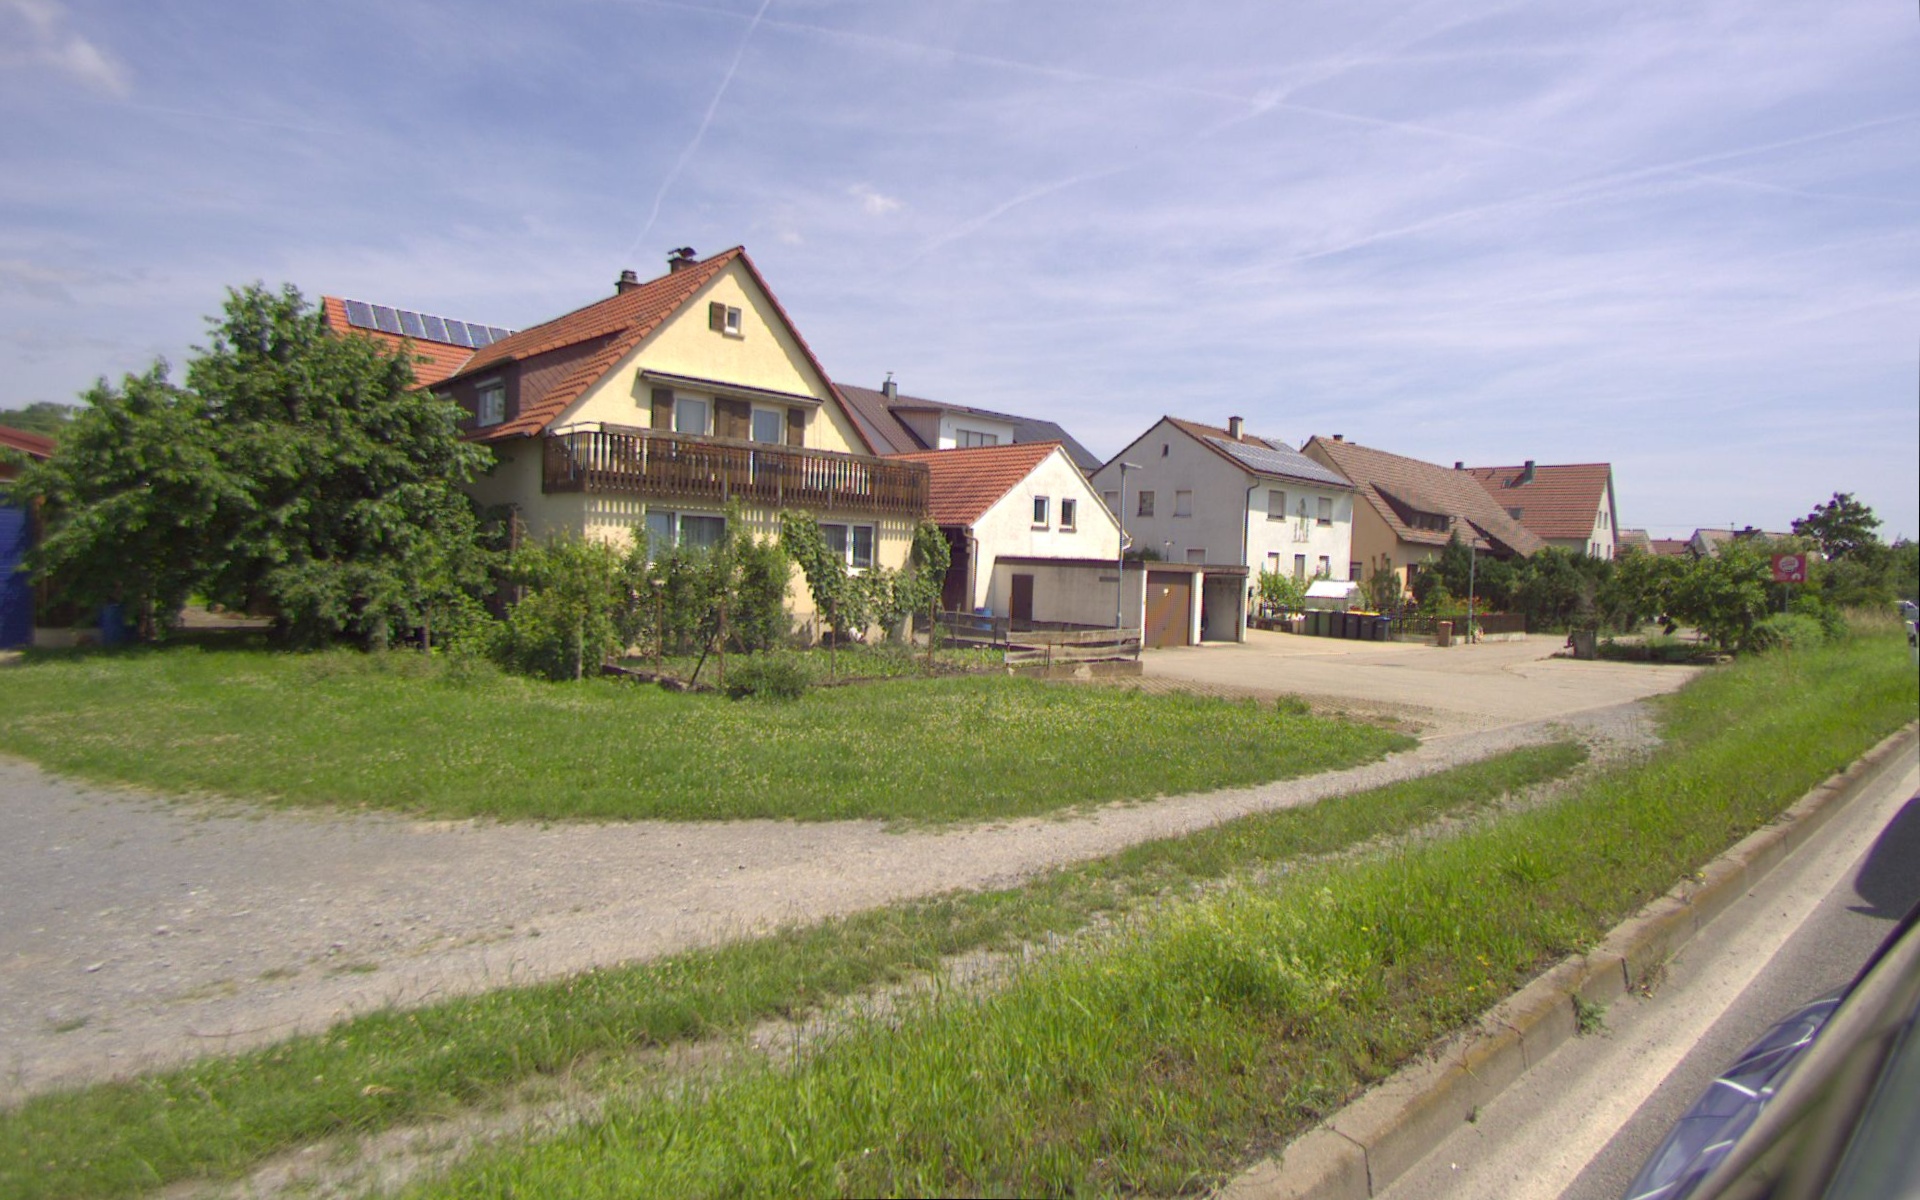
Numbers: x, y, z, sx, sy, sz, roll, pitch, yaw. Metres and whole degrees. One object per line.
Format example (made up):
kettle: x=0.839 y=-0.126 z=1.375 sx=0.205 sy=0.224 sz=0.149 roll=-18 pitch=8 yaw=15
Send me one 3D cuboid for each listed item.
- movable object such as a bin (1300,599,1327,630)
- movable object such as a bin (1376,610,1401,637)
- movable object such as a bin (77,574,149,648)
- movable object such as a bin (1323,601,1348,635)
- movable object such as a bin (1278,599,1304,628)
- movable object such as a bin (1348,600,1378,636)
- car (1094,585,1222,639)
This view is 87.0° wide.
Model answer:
movable object such as a bin: x=14.741 y=0.612 z=42.178 sx=0.874 sy=1.262 sz=0.744 roll=1 pitch=0 yaw=-43
movable object such as a bin: x=16.788 y=0.908 z=39.640 sx=0.743 sy=1.040 sz=0.645 roll=1 pitch=0 yaw=-43
movable object such as a bin: x=-16.729 y=0.199 z=20.017 sx=1.045 sy=1.415 sz=1.276 roll=1 pitch=0 yaw=-39
movable object such as a bin: x=15.408 y=0.745 z=41.549 sx=0.806 sy=1.355 sz=0.677 roll=1 pitch=0 yaw=-43
movable object such as a bin: x=13.995 y=0.570 z=42.758 sx=0.816 sy=1.171 sz=0.739 roll=1 pitch=0 yaw=-43
movable object such as a bin: x=16.068 y=0.714 z=40.338 sx=0.930 sy=1.387 sz=0.764 roll=1 pitch=0 yaw=-43
car: x=6.632 y=0.362 z=34.163 sx=1.794 sy=1.623 sz=3.995 roll=1 pitch=1 yaw=-41
